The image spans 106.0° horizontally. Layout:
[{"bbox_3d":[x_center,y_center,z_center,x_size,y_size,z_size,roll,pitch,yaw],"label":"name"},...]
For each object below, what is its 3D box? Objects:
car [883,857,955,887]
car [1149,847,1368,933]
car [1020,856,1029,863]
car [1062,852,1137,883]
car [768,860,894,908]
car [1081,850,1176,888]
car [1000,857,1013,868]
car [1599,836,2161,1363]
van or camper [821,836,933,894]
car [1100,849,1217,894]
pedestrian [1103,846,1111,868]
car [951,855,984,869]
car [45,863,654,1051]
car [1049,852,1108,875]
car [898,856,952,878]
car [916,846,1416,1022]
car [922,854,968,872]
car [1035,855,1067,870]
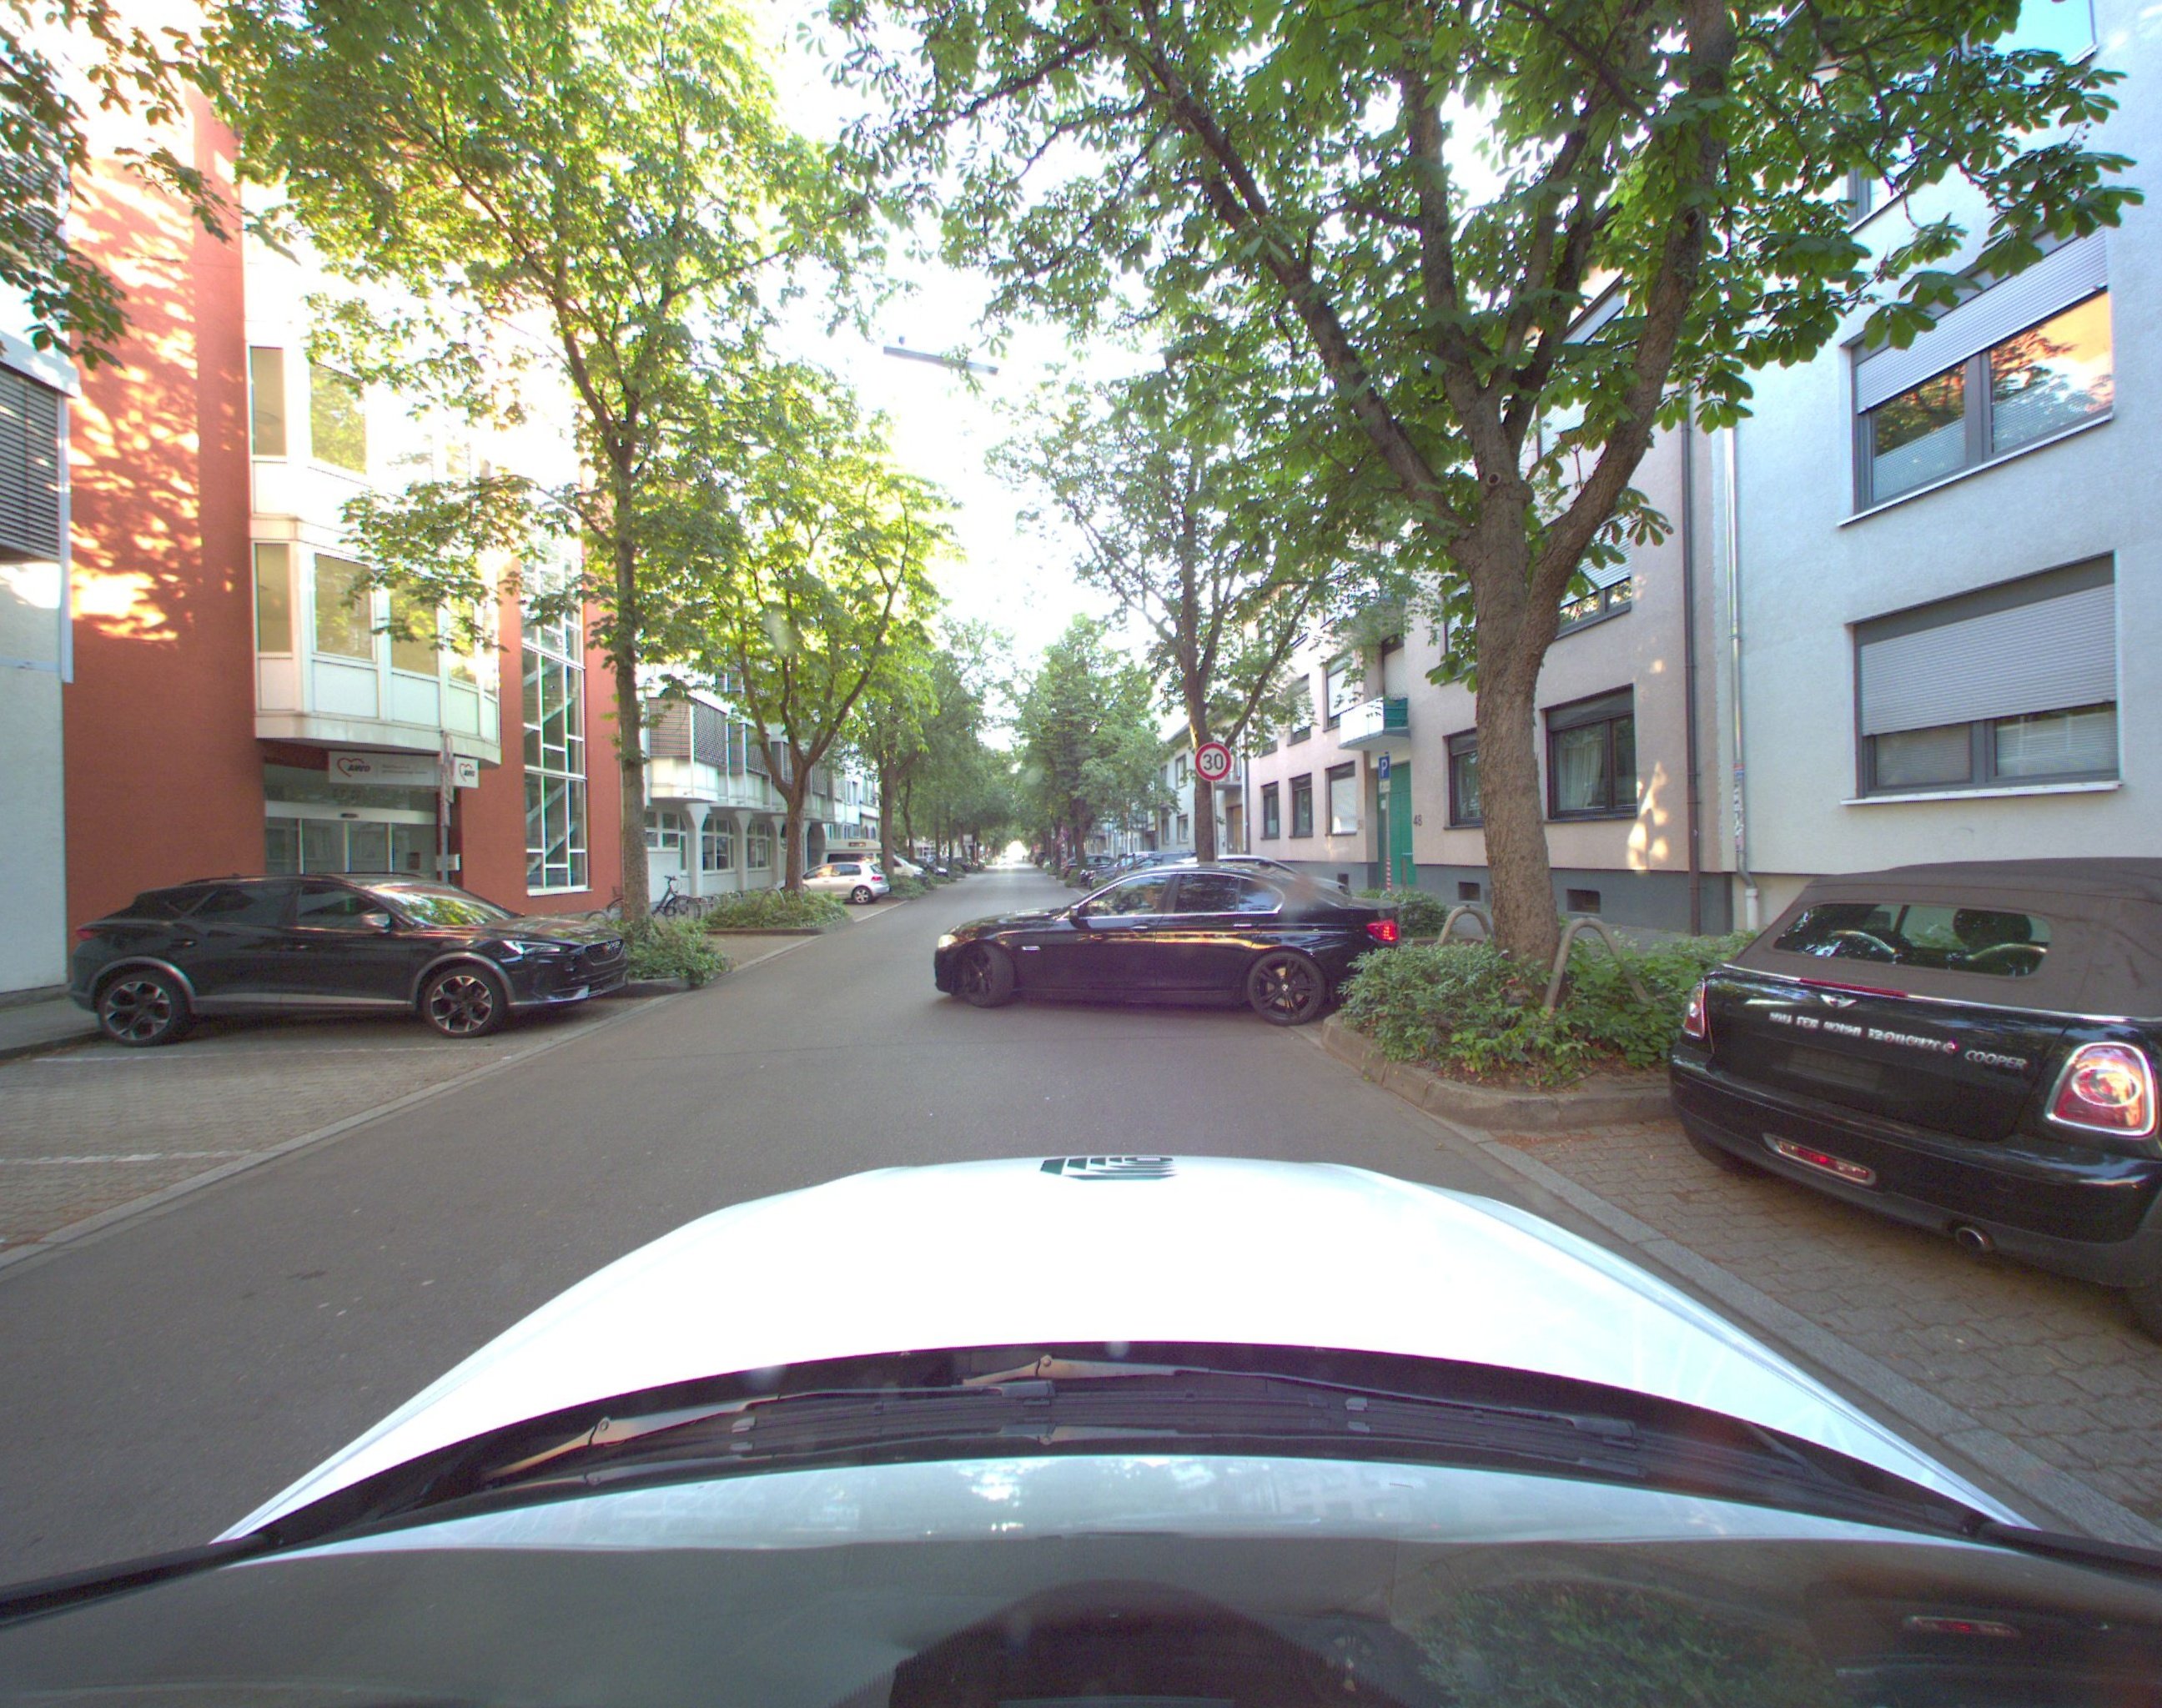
[{"bbox_3d":[-9.597,1.033,48.419,3.960,1.619,1.783,-2,0,-4],"label":"car"},{"bbox_3d":[3.434,0.669,16.117,3.904,1.476,1.661,-2,0,-7],"label":"car"},{"bbox_3d":[-12.188,1.163,174.929,1.819,1.530,3.995,-2,0,-4],"label":"car"},{"bbox_3d":[1.015,0.734,45.082,3.962,1.527,1.782,-2,0,-5],"label":"car"},{"bbox_3d":[-8.850,1.032,29.082,3.960,1.517,1.783,-2,0,-4],"label":"car"},{"bbox_3d":[2.073,0.659,36.240,3.962,1.527,1.782,-2,0,-5],"label":"car"},{"bbox_3d":[-11.441,1.301,125.449,1.775,1.562,4.162,-1,0,-4],"label":"car"},{"bbox_3d":[4.344,0.628,3.266,3.608,1.363,1.660,-2,0,-8],"label":"car"},{"bbox_3d":[-9.295,0.475,37.416,4.656,2.478,1.997,-1,0,-5],"label":"van or camper"},{"bbox_3d":[2.786,0.621,29.757,3.963,1.476,1.781,-2,0,-7],"label":"car"},{"bbox_3d":[2.437,0.280,76.466,0.587,2.013,0.669,-1,0,-3],"label":"pedestrian"},{"bbox_3d":[-14.387,0.965,103.248,3.959,1.619,1.783,-2,0,-4],"label":"car"},{"bbox_3d":[-7.026,0.924,8.270,4.347,1.517,1.782,-2,0,-5],"label":"car"},{"bbox_3d":[-0.177,0.650,56.985,3.963,1.527,1.781,-2,0,-6],"label":"car"},{"bbox_3d":[-12.400,1.056,64.965,3.959,1.619,1.783,-2,0,-4],"label":"car"},{"bbox_3d":[0.854,0.725,8.458,4.707,1.480,1.808,-1,0,18],"label":"car"},{"bbox_3d":[-12.765,0.848,76.638,3.959,1.619,1.783,-2,0,-4],"label":"car"},{"bbox_3d":[-3.729,1.042,101.051,3.959,1.684,1.783,-2,0,-4],"label":"car"}]
